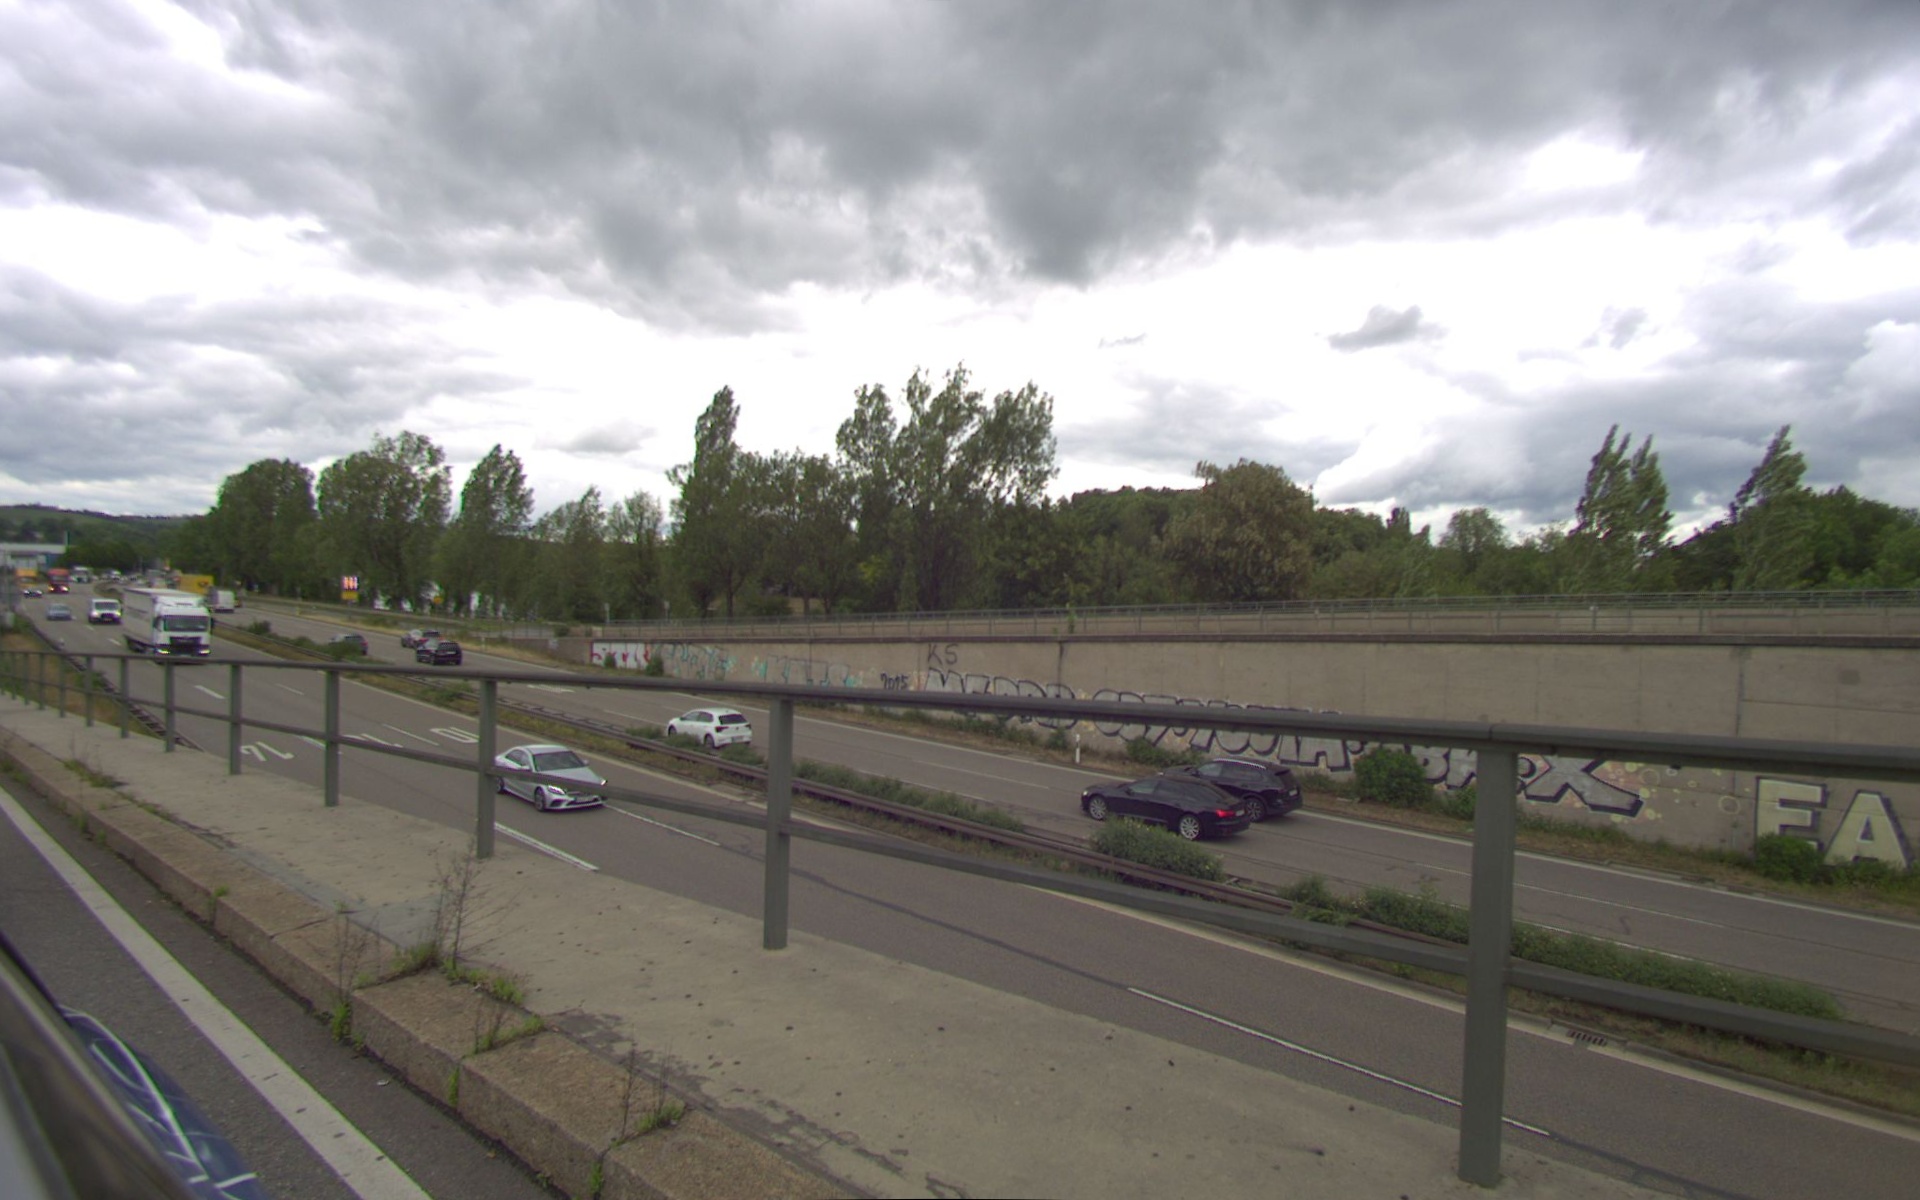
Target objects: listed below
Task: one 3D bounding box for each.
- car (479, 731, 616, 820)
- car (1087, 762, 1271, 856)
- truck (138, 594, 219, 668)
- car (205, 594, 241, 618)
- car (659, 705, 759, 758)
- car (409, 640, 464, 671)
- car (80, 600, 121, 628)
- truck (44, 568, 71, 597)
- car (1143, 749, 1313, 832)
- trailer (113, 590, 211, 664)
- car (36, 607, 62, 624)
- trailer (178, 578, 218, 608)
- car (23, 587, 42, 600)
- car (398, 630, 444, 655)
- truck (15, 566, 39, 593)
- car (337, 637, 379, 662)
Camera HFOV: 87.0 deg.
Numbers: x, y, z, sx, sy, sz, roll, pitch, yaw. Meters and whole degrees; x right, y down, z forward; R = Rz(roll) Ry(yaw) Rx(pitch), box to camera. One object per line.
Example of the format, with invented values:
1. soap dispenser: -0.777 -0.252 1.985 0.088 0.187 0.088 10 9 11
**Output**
1. car: -11.660 4.842 28.485 4.439 1.582 1.830 3 2 43
2. car: 5.992 5.678 28.003 4.577 1.638 1.973 2 -1 41
3. truck: -47.753 1.838 61.802 5.876 4.140 2.970 2 0 44
4. car: -87.984 0.752 120.778 6.101 2.613 2.144 2 0 42
5. car: -9.679 5.007 38.922 3.896 1.505 1.756 2 -1 41
6. car: -34.544 3.624 66.722 4.183 1.731 1.861 2 0 43
7. car: -78.383 1.230 92.265 6.502 2.259 2.076 3 0 43
8. truck: -157.228 -3.145 176.265 9.922 4.774 2.717 2 -2 44
9. car: 8.093 5.713 30.811 4.577 1.638 1.973 2 -1 41
10. trailer: -52.625 1.618 66.507 13.993 4.140 2.970 2 0 44
11. car: -85.102 1.463 94.501 3.538 1.383 1.492 3 0 43
12. trailer: -120.324 -1.108 159.722 3.203 4.294 13.691 2 0 -44
13. car: -134.901 -0.977 147.170 4.002 1.679 1.786 3 1 44
14. car: -41.718 3.268 78.283 4.636 1.664 1.838 2 0 45
15. truck: -152.531 -3.440 165.444 8.175 4.153 2.382 3 1 44
16. car: -42.399 3.442 71.252 3.653 1.464 1.694 3 1 45
